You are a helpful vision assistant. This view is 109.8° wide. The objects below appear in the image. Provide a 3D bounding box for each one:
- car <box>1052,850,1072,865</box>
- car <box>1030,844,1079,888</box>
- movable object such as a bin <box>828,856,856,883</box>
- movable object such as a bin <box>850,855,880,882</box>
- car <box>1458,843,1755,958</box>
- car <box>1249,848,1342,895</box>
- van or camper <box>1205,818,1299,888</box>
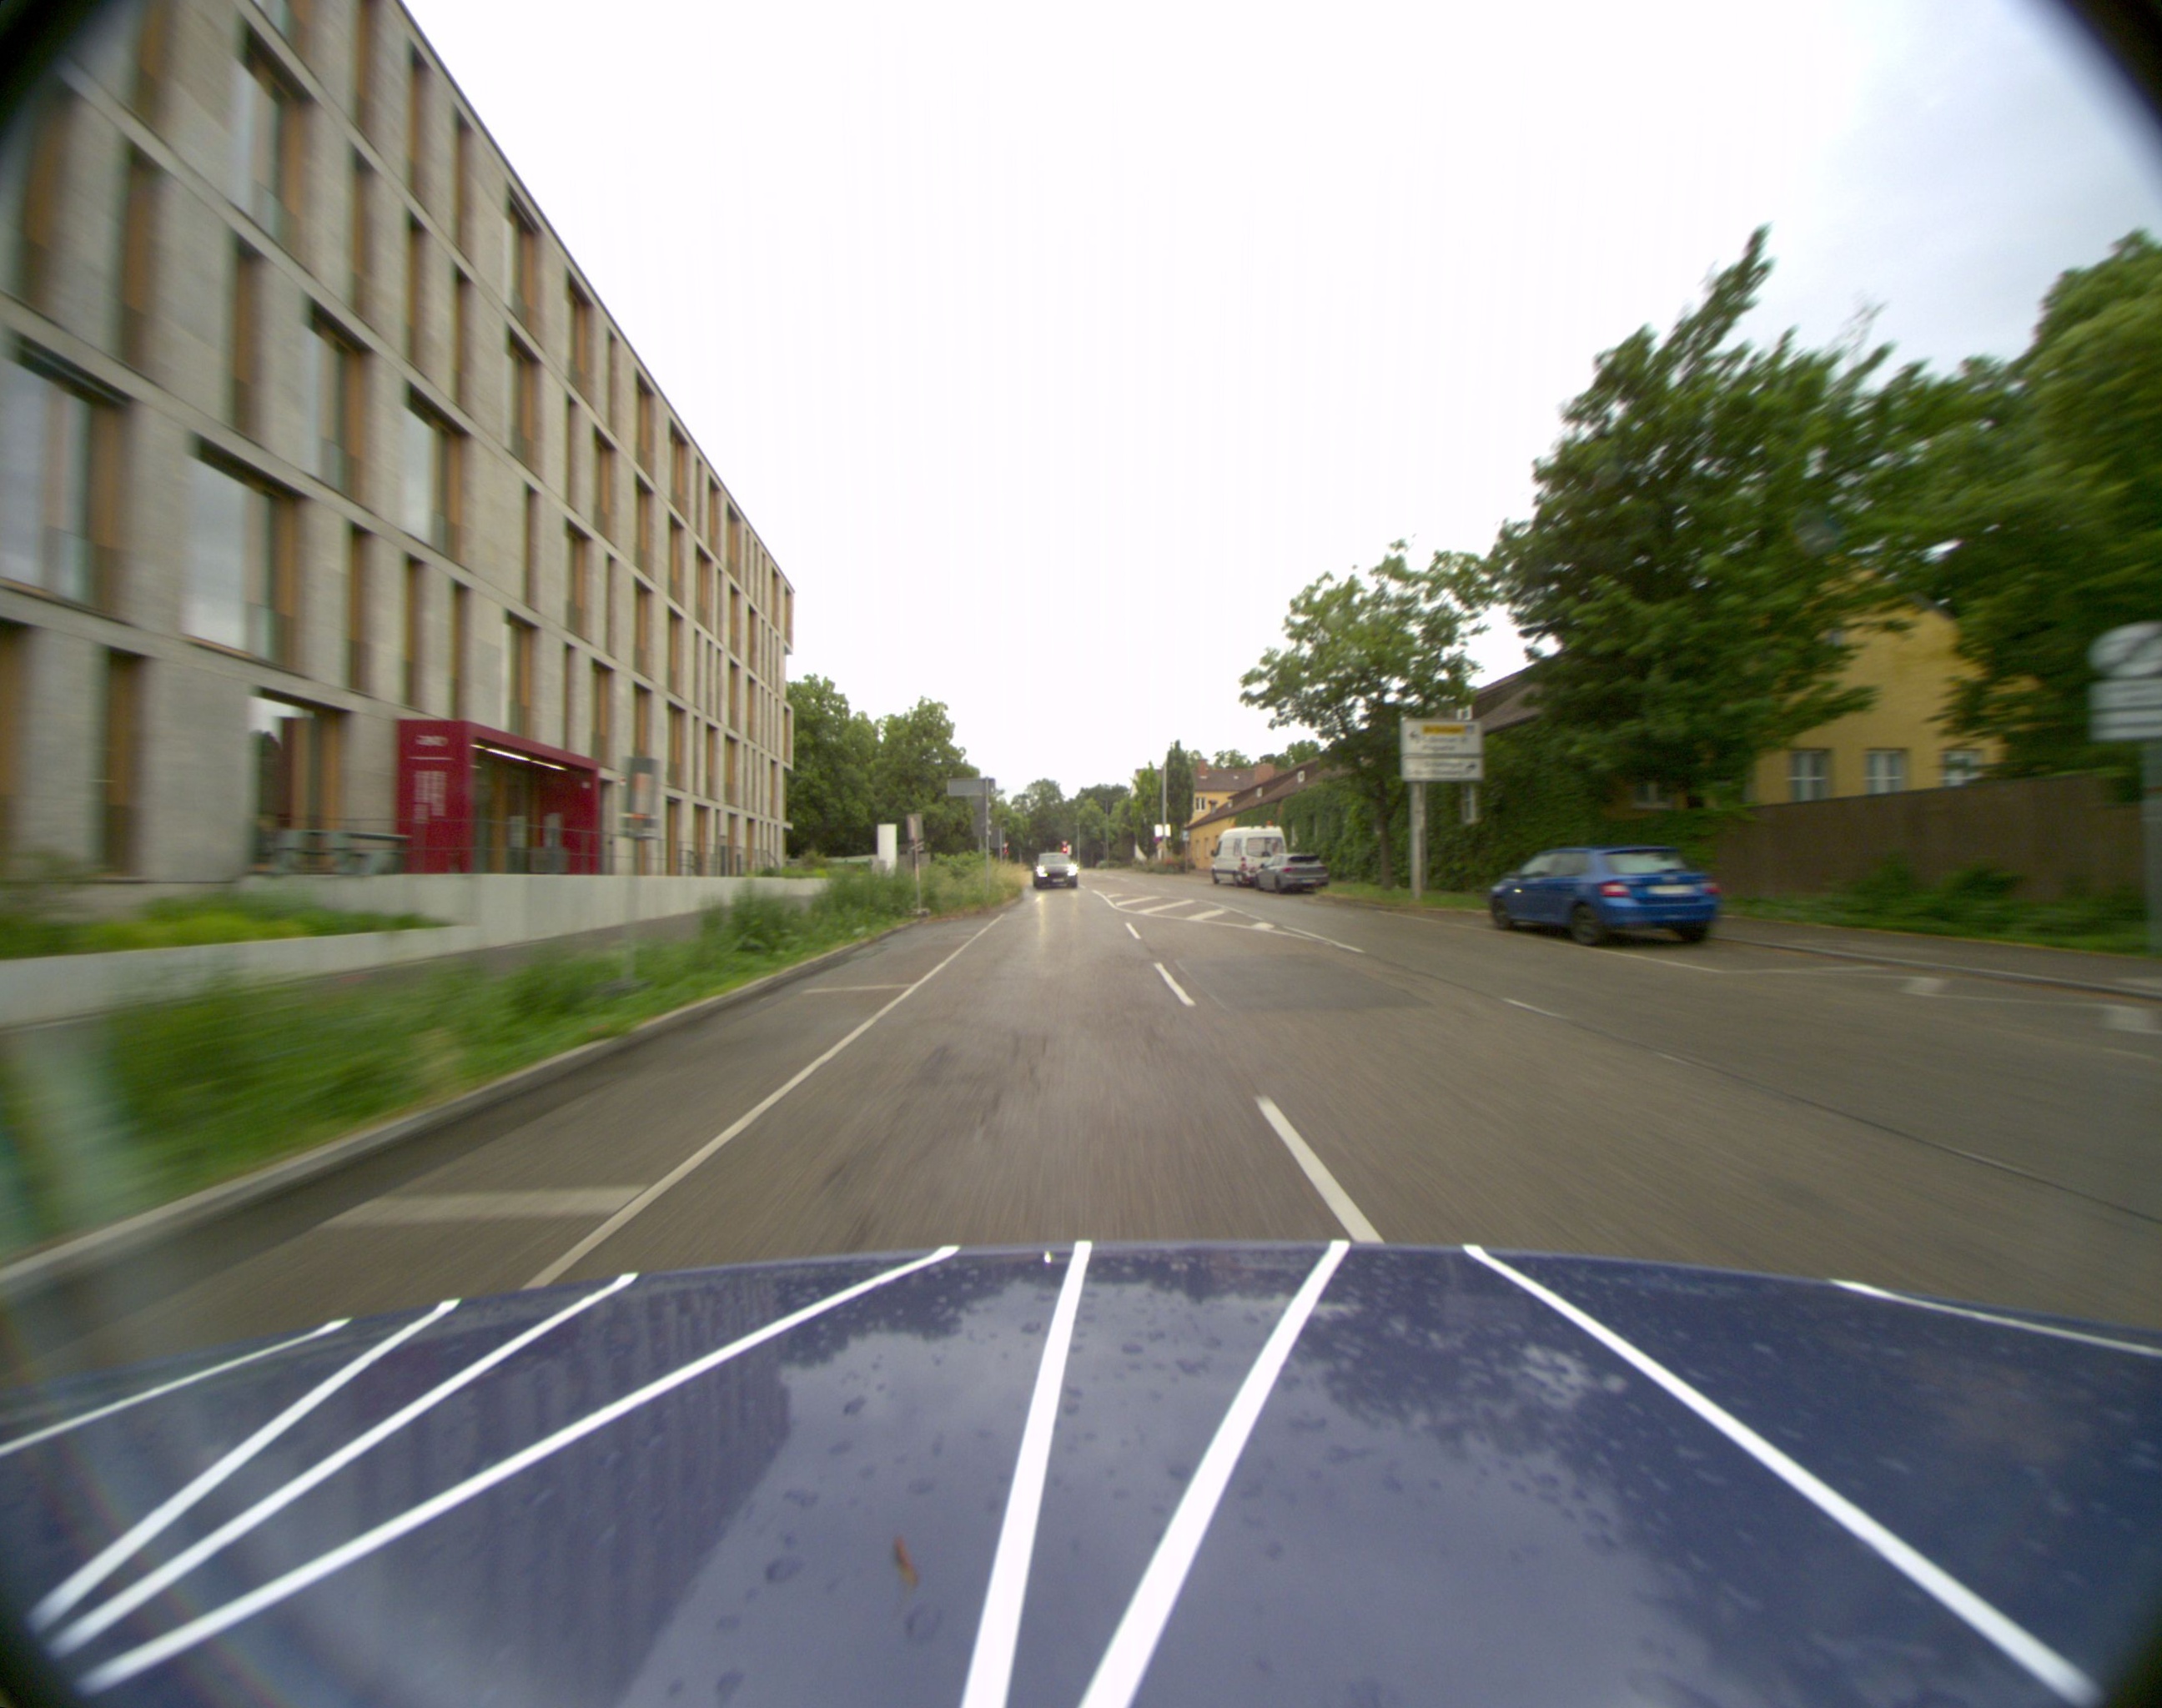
[{"bbox_3d":[-2.386,0.410,94.057,1.900,1.695,4.506,-2,1,-7],"label":"car"},{"bbox_3d":[-1.372,0.543,37.236,1.849,1.961,4.340,-3,1,-8],"label":"car"},{"bbox_3d":[-13.987,0.899,44.519,1.100,1.391,1.149,-5,1,2],"label":"movable object such as a bin"},{"bbox_3d":[-12.678,0.820,44.642,1.250,1.449,1.111,-5,1,3],"label":"movable object such as a bin"},{"bbox_3d":[8.150,0.607,12.377,1.998,1.461,4.185,-2,1,2],"label":"car"},{"bbox_3d":[7.812,0.581,28.168,1.999,1.504,4.421,-2,1,-2],"label":"car"},{"bbox_3d":[7.479,-0.047,34.077,2.347,2.749,6.139,-2,0,-4],"label":"van or camper"}]
